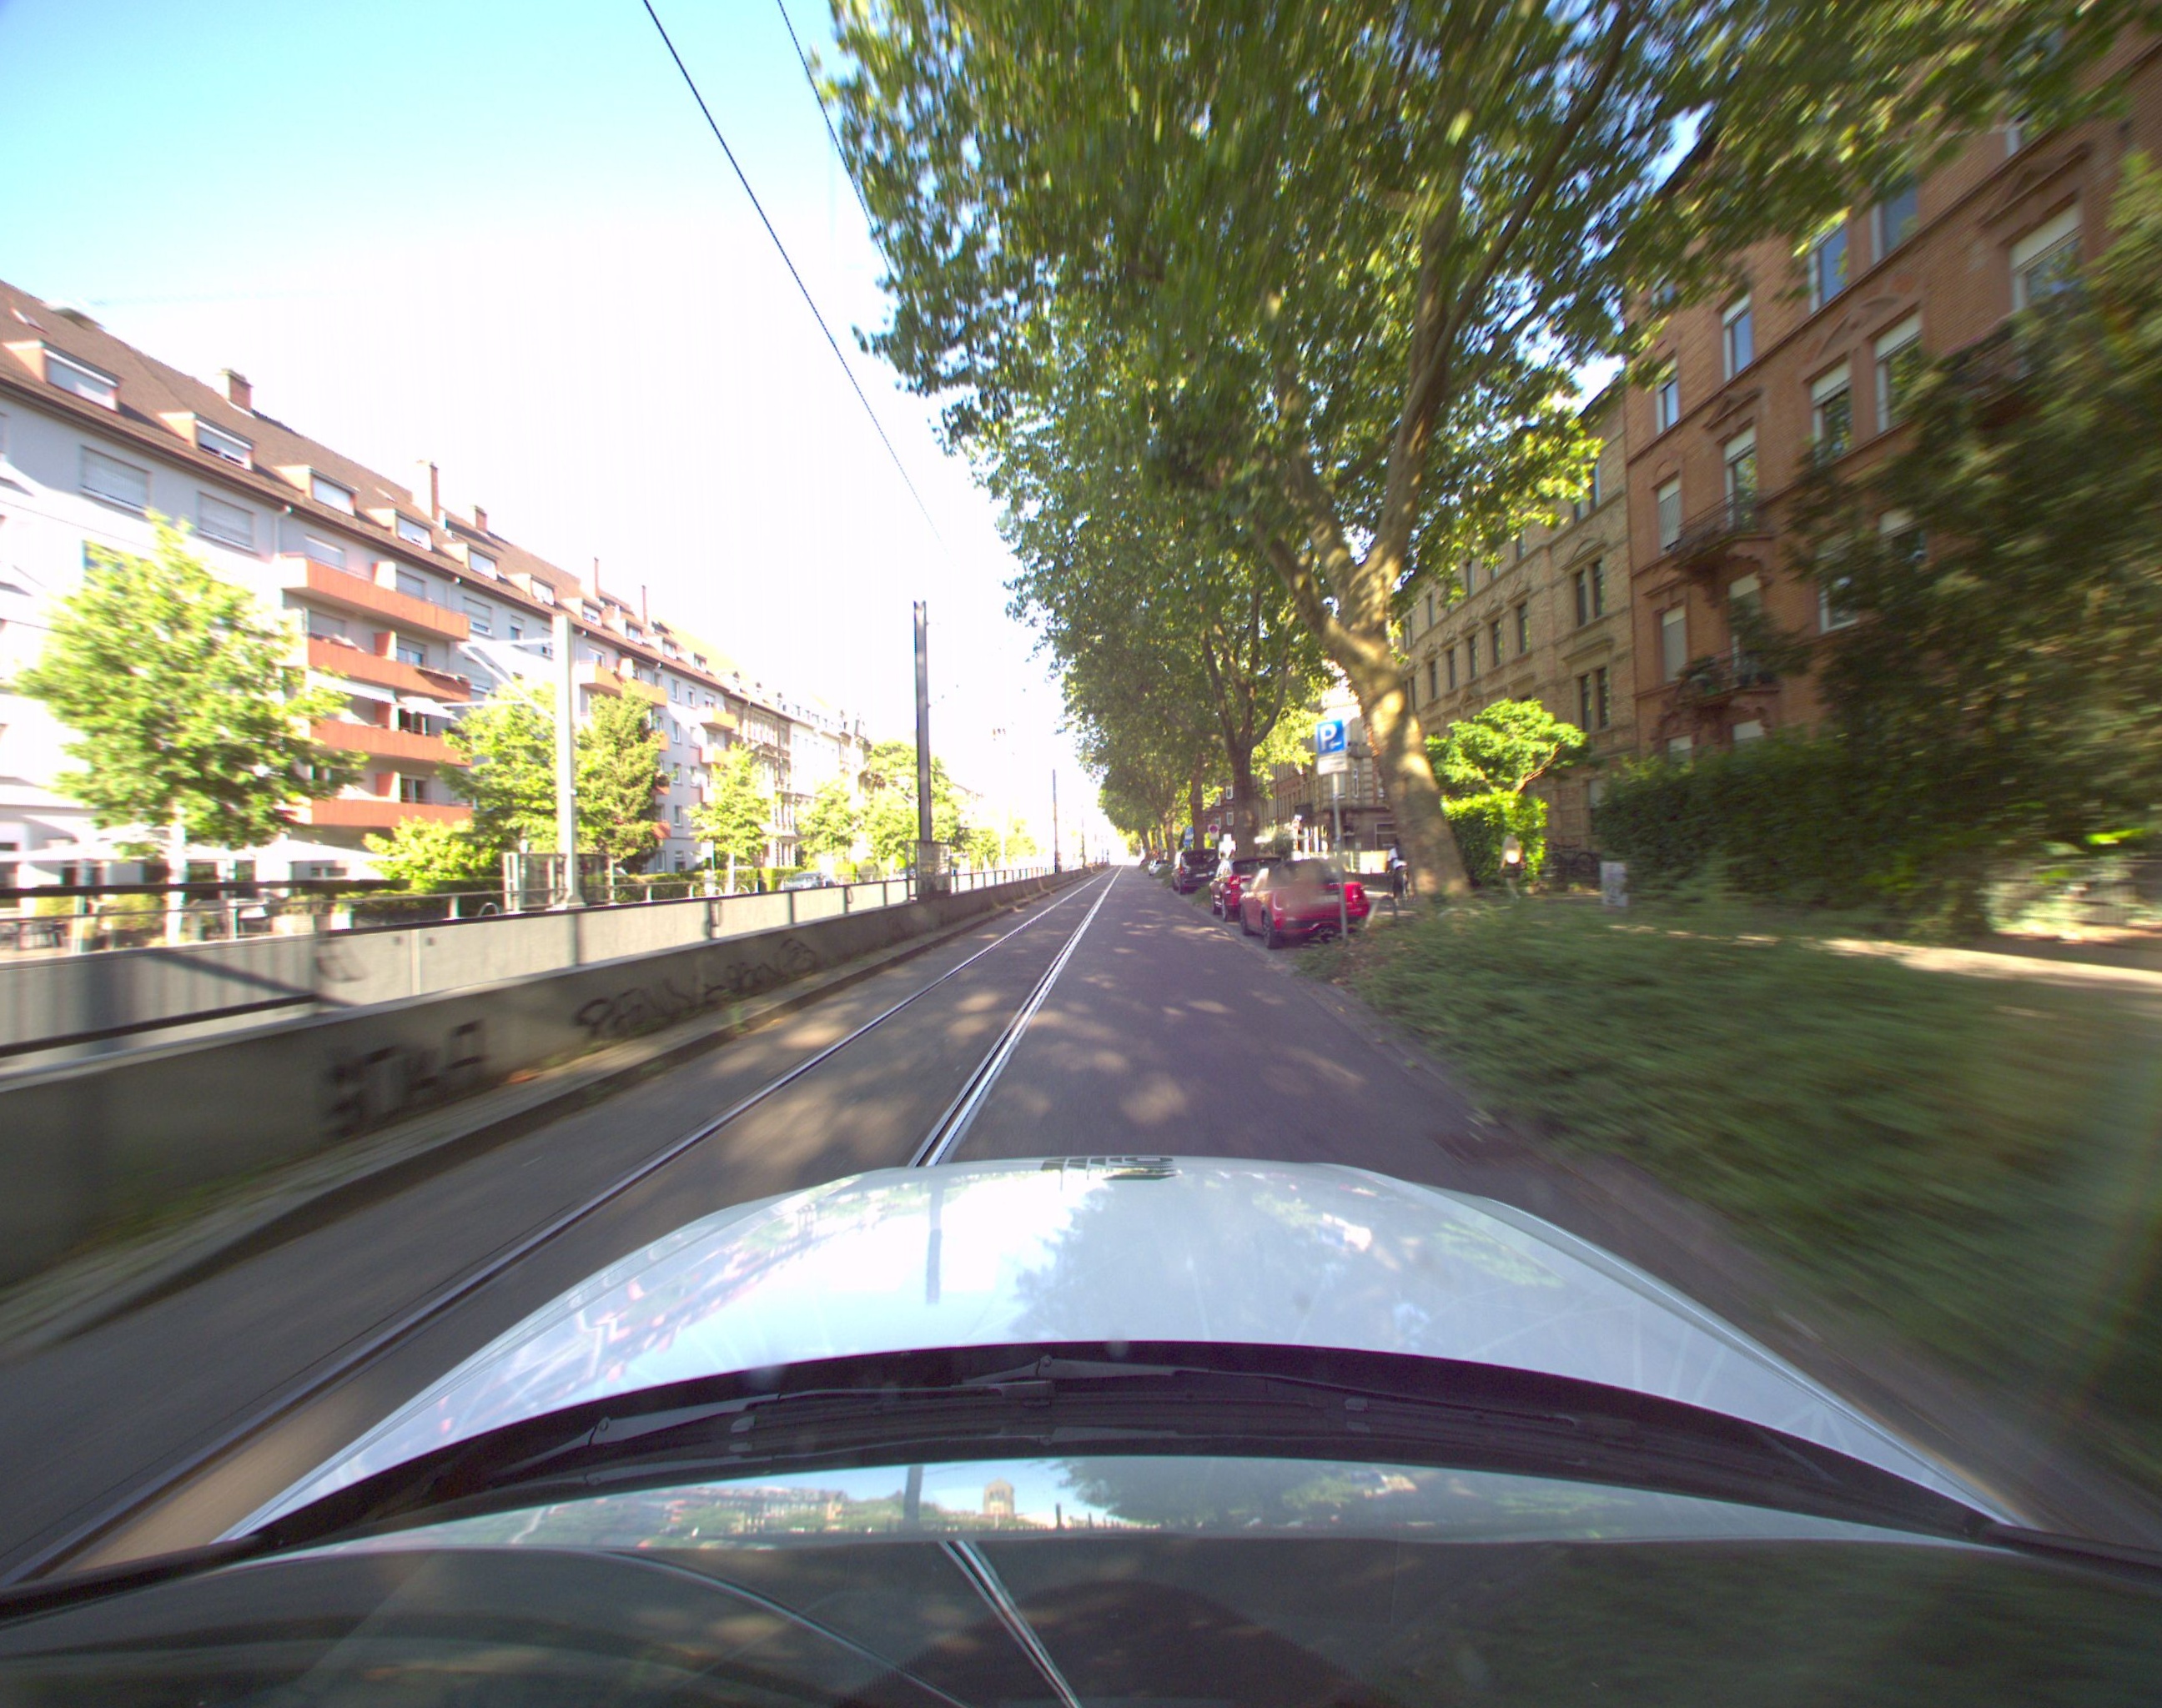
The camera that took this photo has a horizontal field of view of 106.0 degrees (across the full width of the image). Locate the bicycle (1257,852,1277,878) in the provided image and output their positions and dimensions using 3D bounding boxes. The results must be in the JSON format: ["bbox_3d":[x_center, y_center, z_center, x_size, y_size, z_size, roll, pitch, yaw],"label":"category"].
[{"bbox_3d":[8.644,0.516,37.900,0.558,1.178,2.023,-2,-1,3],"label":"bicycle"}]

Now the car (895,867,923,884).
[{"bbox_3d":[-16.814,2.045,79.737,1.826,1.585,4.001,0,0,1],"label":"car"}]

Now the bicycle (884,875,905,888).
[{"bbox_3d":[-17.454,2.561,76.322,1.799,1.178,0.563,0,-1,5],"label":"bicycle"}]

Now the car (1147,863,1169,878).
[{"bbox_3d":[7.027,1.486,74.470,1.822,1.326,4.003,-2,-1,3],"label":"car"}]

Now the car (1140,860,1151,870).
[{"bbox_3d":[10.919,1.933,138.909,1.610,1.587,4.419,-3,-1,2],"label":"car"}]

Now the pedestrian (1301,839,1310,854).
[{"bbox_3d":[17.422,-0.589,63.161,0.554,1.138,0.526,-2,-1,2],"label":"pedestrian"}]

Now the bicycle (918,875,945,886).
[{"bbox_3d":[-16.103,2.862,87.565,2.795,1.098,0.637,1,-1,-30],"label":"bicycle"}]

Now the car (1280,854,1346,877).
[{"bbox_3d":[15.998,0.793,56.269,3.974,1.364,1.743,-3,1,0],"label":"car"}]

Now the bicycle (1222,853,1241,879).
[{"bbox_3d":[7.023,0.577,38.074,0.558,1.178,2.227,2,-1,3],"label":"bicycle"}]

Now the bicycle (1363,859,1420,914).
[{"bbox_3d":[7.355,0.738,19.387,0.558,1.178,2.227,-2,1,2],"label":"bicycle"}]

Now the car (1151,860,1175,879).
[{"bbox_3d":[6.945,1.309,69.245,1.795,1.477,4.649,-2,-1,3],"label":"car"}]

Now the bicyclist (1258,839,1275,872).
[{"bbox_3d":[8.617,0.073,37.832,0.567,1.487,0.644,-3,-1,2],"label":"bicyclist"}]

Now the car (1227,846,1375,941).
[{"bbox_3d":[3.841,0.676,14.886,1.708,1.462,4.001,-1,-2,2],"label":"car"}]

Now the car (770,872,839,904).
[{"bbox_3d":[-14.284,1.721,42.387,1.963,1.504,4.409,0,0,2],"label":"car"}]

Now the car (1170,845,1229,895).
[{"bbox_3d":[5.293,0.673,36.944,1.986,2.013,5.204,-3,0,2],"label":"car"}]

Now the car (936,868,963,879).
[{"bbox_3d":[-20.449,3.091,126.494,3.982,1.624,1.821,-1,-1,-6],"label":"car"}]

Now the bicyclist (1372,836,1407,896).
[{"bbox_3d":[7.326,0.277,19.382,0.541,1.380,0.644,-3,0,1],"label":"bicyclist"}]

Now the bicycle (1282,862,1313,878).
[{"bbox_3d":[13.153,0.954,49.462,1.690,0.917,0.601,-2,-1,-9],"label":"bicycle"}]

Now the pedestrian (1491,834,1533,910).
[{"bbox_3d":[9.553,0.391,18.075,0.527,1.628,0.618,-4,0,3],"label":"pedestrian"}]

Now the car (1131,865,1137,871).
[{"bbox_3d":[15.372,4.079,236.640,1.738,1.462,3.646,0,0,2],"label":"car"}]

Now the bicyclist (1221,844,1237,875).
[{"bbox_3d":[6.918,0.263,38.151,0.567,1.380,0.644,-3,-2,2],"label":"bicyclist"}]

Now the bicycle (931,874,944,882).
[{"bbox_3d":[-16.339,2.739,92.672,1.272,0.905,0.534,1,-1,-27],"label":"bicycle"}]

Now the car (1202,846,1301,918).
[{"bbox_3d":[4.195,0.682,20.724,1.707,1.549,4.503,-4,-1,3],"label":"car"}]

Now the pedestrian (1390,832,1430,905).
[{"bbox_3d":[8.367,0.365,20.747,0.686,1.785,0.644,-3,0,1],"label":"pedestrian"}]

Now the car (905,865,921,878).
[{"bbox_3d":[-24.973,2.620,121.259,1.993,1.849,4.467,0,0,-9],"label":"car"}]
